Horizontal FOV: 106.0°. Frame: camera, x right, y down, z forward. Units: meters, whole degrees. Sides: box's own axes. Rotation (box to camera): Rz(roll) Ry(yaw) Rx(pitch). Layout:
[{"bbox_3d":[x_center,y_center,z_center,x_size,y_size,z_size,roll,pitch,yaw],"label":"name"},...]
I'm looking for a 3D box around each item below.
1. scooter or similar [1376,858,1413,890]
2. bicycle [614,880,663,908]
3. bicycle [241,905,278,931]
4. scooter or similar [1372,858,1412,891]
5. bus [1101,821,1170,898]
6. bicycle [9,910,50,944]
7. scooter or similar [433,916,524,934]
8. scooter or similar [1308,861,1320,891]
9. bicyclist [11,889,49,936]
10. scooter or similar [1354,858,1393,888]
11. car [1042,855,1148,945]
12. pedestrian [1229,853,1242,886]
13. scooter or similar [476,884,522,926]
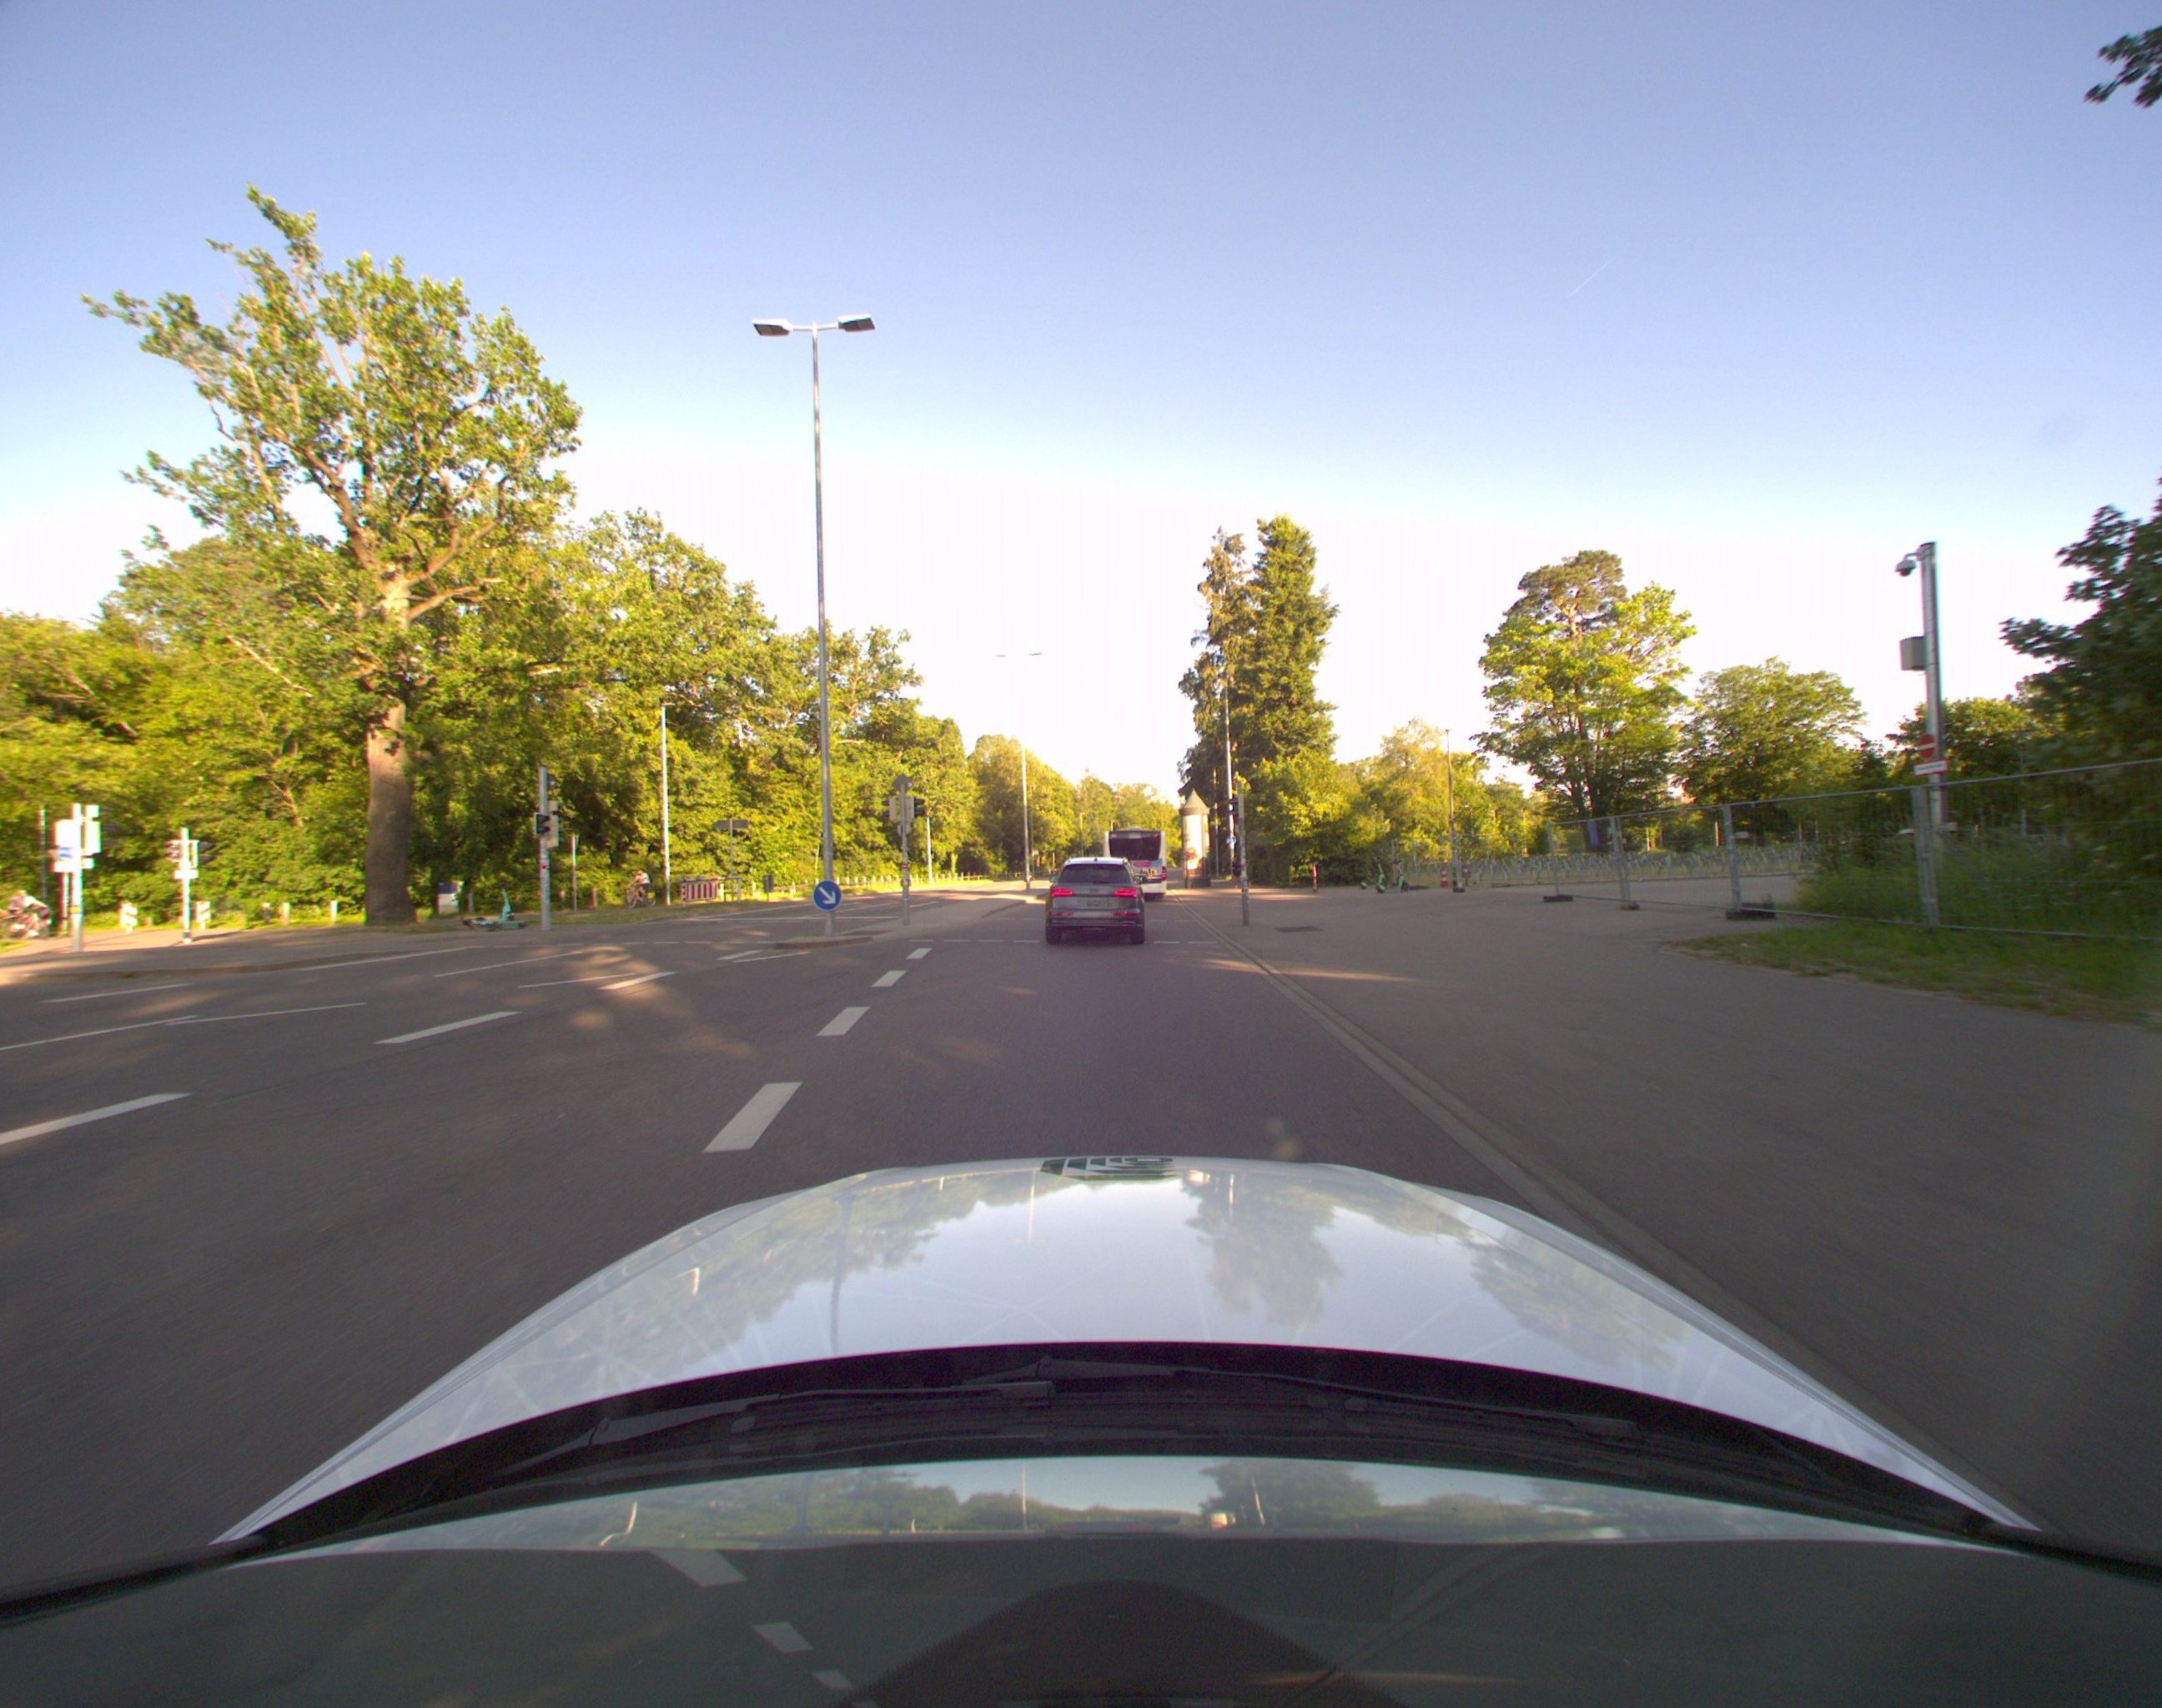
[{"bbox_3d":[11.782,0.760,30.614,1.232,1.167,0.396,-3,-2,27],"label":"scooter or similar"},{"bbox_3d":[-20.572,1.843,37.893,0.674,1.154,1.995,-1,1,21],"label":"bicycle"},{"bbox_3d":[-32.967,2.565,32.706,0.523,0.977,1.346,0,-1,-21],"label":"bicycle"},{"bbox_3d":[11.478,0.763,30.055,1.257,1.147,0.395,-4,-3,10],"label":"scooter or similar"},{"bbox_3d":[2.390,0.304,38.028,2.679,3.043,12.047,0,-1,2],"label":"bus"},{"bbox_3d":[-34.149,2.348,26.460,1.570,0.977,0.790,-1,-1,38],"label":"bicycle"},{"bbox_3d":[-15.719,1.846,21.287,1.398,0.339,1.264,-2,0,10],"label":"scooter or similar"},{"bbox_3d":[9.581,0.883,33.500,0.279,1.171,1.413,-3,-1,12],"label":"scooter or similar"},{"bbox_3d":[-34.175,1.879,26.487,0.790,1.483,0.734,-1,-1,37],"label":"bicyclist"},{"bbox_3d":[12.077,0.771,33.614,1.424,1.167,0.396,-4,-3,32],"label":"scooter or similar"},{"bbox_3d":[0.347,0.846,16.900,1.885,1.605,4.547,0,-1,2],"label":"car"},{"bbox_3d":[8.005,0.813,42.126,0.621,1.688,0.885,-1,-1,12],"label":"pedestrian"},{"bbox_3d":[-16.360,1.430,22.884,1.060,1.146,0.395,-2,0,10],"label":"scooter or similar"}]
